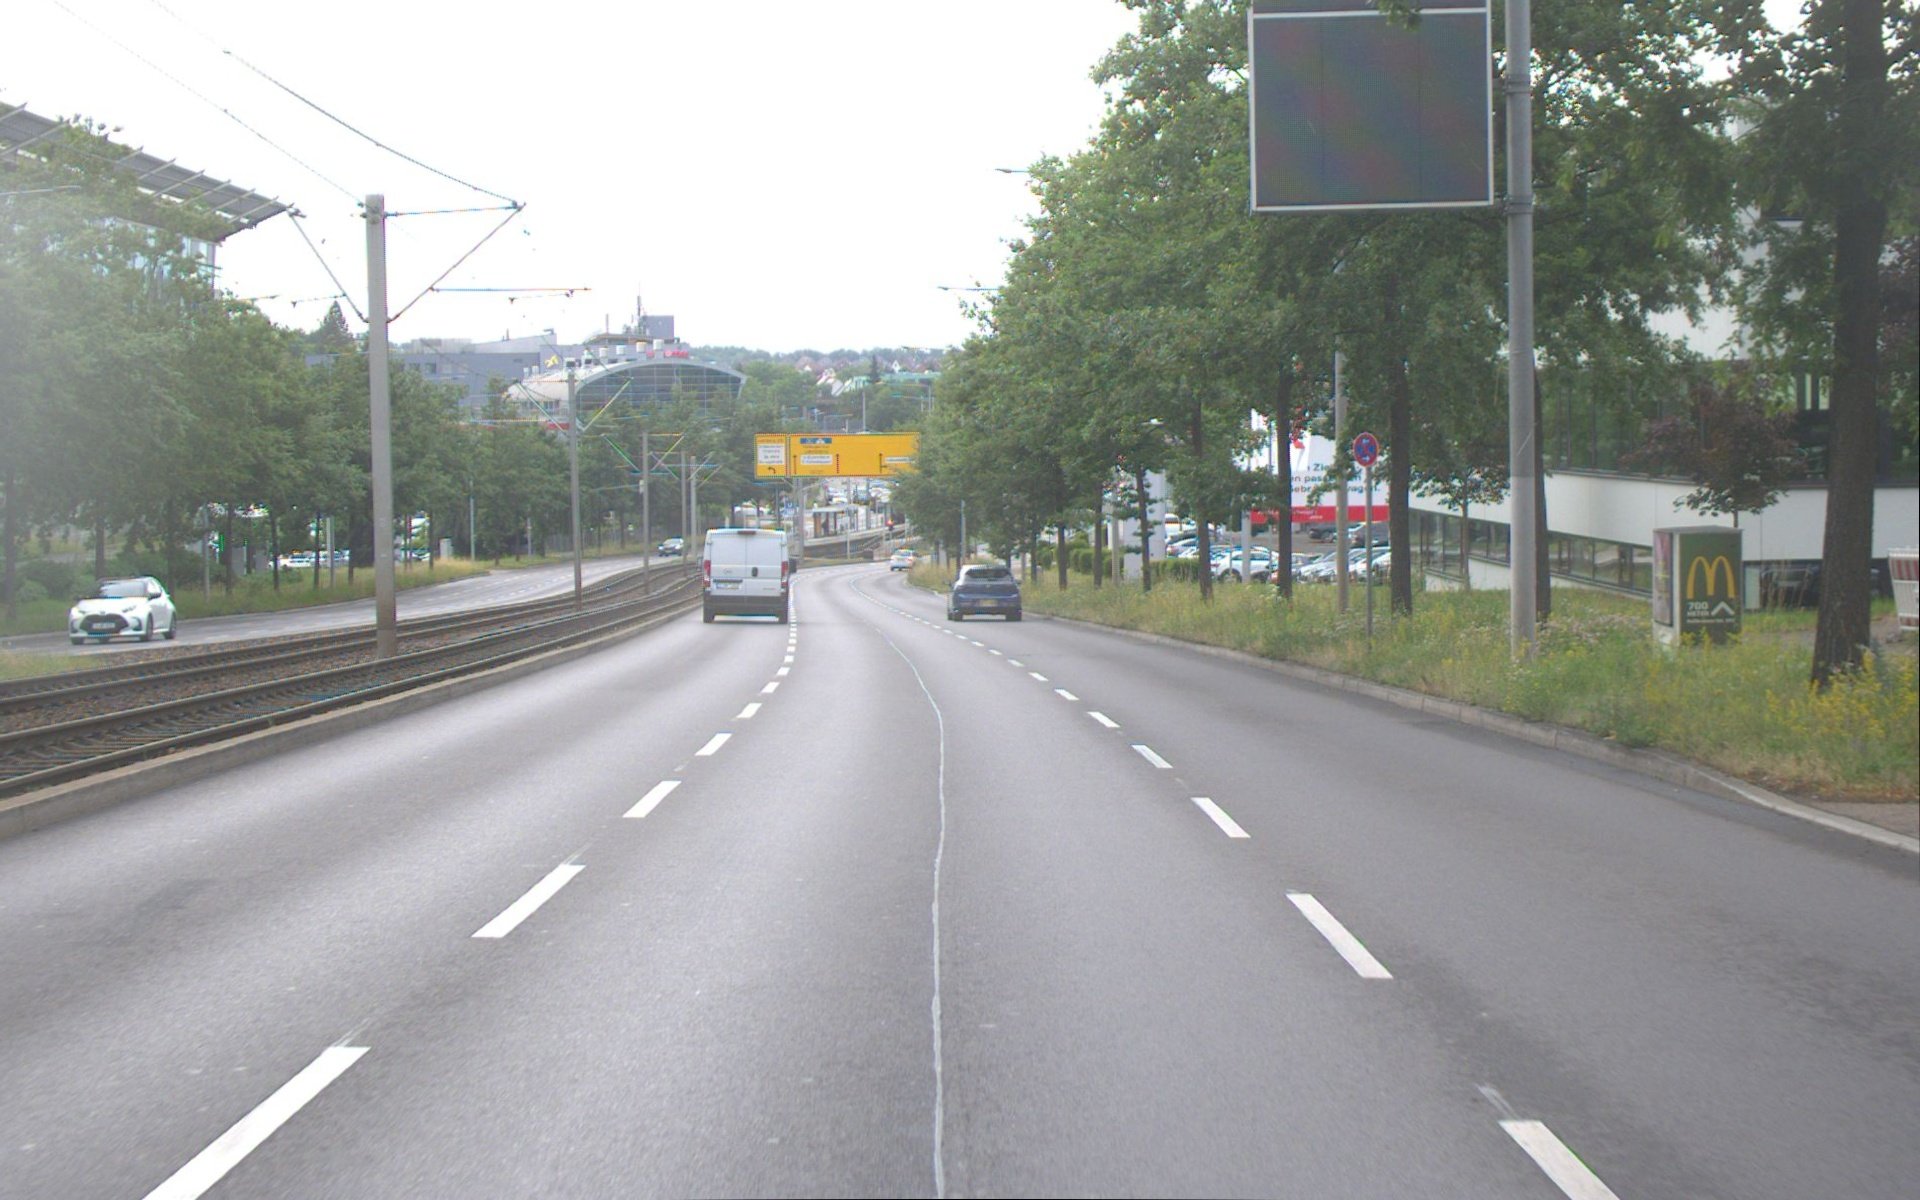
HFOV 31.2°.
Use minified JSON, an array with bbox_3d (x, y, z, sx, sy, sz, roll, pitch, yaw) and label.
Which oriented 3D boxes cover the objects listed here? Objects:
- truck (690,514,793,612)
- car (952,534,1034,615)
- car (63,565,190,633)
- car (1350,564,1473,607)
[{"bbox_3d":[-5.256,-0.907,83.321,2.360,2.254,5.306,1,1,-3],"label":"truck"},{"bbox_3d":[0.824,-0.661,88.687,1.993,2.007,3.934,1,1,-1],"label":"car"},{"bbox_3d":[-18.771,-0.042,77.569,1.880,1.442,4.138,-1,1,-1],"label":"car"},{"bbox_3d":[15.321,-0.498,116.825,3.987,1.349,2.000,1,1,3],"label":"car"}]
